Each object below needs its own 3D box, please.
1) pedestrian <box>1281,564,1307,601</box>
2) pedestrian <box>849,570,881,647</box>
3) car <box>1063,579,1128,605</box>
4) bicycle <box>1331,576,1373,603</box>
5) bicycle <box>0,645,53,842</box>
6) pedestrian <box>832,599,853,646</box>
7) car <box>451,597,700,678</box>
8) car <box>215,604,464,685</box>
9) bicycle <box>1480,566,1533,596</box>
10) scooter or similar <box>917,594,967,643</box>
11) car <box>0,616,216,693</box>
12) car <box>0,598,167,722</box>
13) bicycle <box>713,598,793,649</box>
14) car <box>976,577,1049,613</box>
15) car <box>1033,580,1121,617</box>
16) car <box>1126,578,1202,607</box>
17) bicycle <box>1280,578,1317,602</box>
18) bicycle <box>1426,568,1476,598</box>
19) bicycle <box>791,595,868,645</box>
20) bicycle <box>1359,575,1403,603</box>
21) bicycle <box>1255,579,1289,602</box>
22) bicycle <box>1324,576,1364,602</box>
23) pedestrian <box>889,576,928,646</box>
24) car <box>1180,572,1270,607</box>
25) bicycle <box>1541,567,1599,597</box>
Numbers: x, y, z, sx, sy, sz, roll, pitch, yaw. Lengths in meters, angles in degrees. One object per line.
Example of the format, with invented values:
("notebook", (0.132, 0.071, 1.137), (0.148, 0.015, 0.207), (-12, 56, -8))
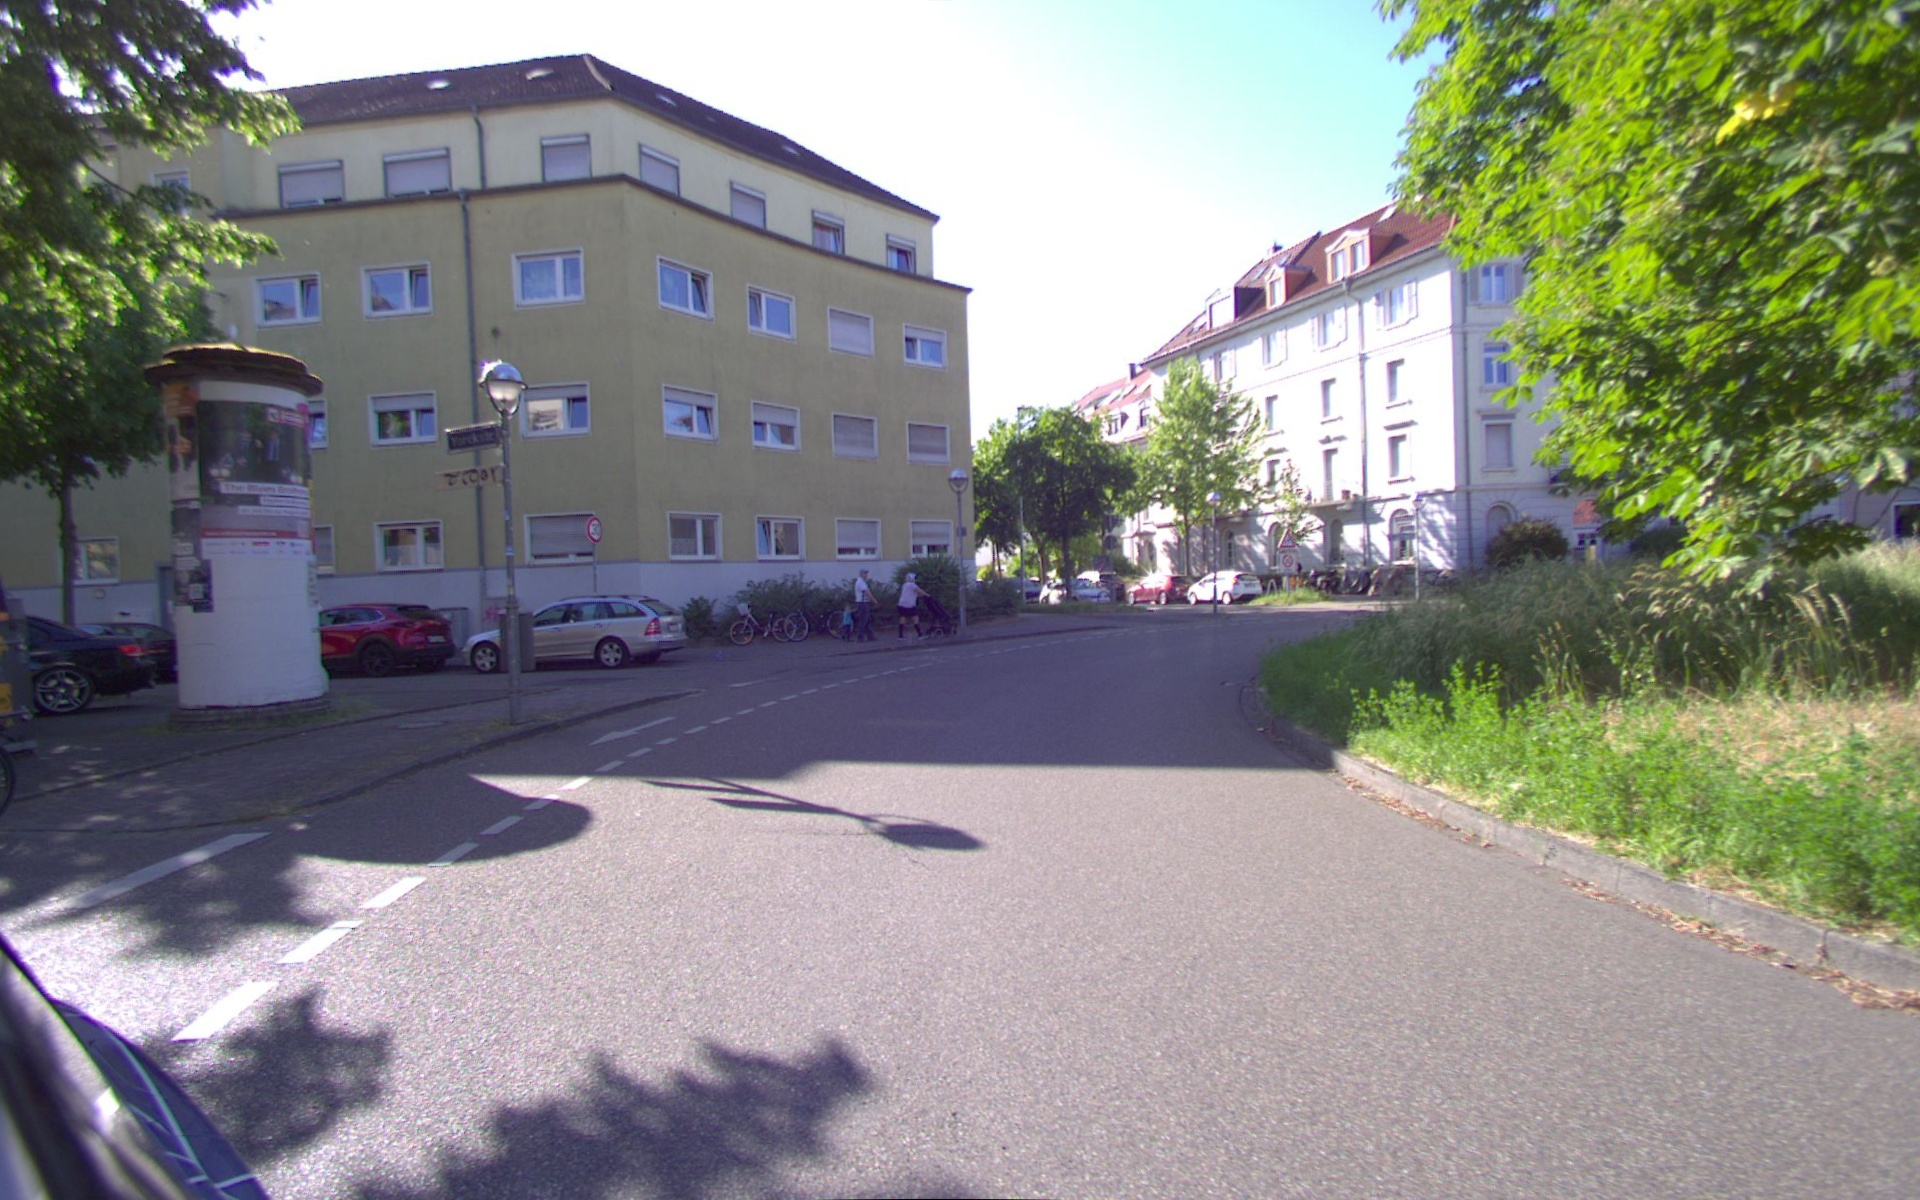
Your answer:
("pedestrian", (15.695, -0.825, 47.572), (0.760, 1.674, 0.748), (-2, 0, -25))
("pedestrian", (-2.193, 0.195, 23.310), (0.599, 1.705, 0.556), (-3, 4, -12))
("car", (7.371, -0.421, 55.354), (1.769, 1.265, 3.731), (-3, 0, -23))
("bicycle", (17.442, -0.466, 45.091), (0.561, 1.132, 1.806), (-2, 0, -25))
("bicycle", (-6.461, 0.931, 5.751), (0.756, 1.207, 1.865), (-2, 1, 9))
("pedestrian", (-2.740, 0.527, 23.634), (0.400, 1.047, 0.377), (-3, 4, -12))
("car", (-7.776, 0.746, 20.640), (4.437, 1.422, 1.729), (-2, 0, 8))
("car", (-13.003, 0.920, 21.327), (4.336, 1.450, 1.731), (-2, 0, 8))
("bicycle", (21.328, -0.738, 39.523), (1.791, 1.132, 0.565), (0, 1, 27))
("scooter or similar", (-0.433, 0.427, 23.723), (0.884, 1.030, 0.921), (-4, 4, -19))
("car", (-19.012, 1.192, 22.191), (4.336, 1.450, 1.731), (-2, 0, 8))
("car", (-12.742, 0.807, 12.925), (3.940, 1.484, 1.761), (-3, 0, -43))
("bicycle", (-4.931, 0.557, 24.173), (1.774, 1.116, 0.500), (-2, 0, -2))
("car", (2.466, -0.224, 48.514), (1.769, 1.587, 4.013), (-3, 1, -25))
("car", (4.907, -0.051, 42.954), (1.773, 1.422, 4.013), (-3, 1, -25))
("car", (9.830, -0.342, 49.003), (1.769, 1.265, 3.731), (-3, 0, -23))
("bicycle", (16.581, -0.477, 49.593), (0.561, 1.132, 1.806), (-2, 0, -25))
("bicycle", (19.870, -0.678, 40.970), (1.793, 1.116, 0.495), (-2, 0, 30))
("bicycle", (-3.192, 0.479, 24.761), (1.769, 1.116, 0.502), (-3, 0, -17))
("bicycle", (17.926, -0.463, 43.139), (0.561, 1.132, 1.806), (-2, 0, -25))
("bicycle", (15.830, -0.474, 51.341), (0.561, 1.150, 1.806), (-2, 0, -25))
("bicycle", (17.677, -0.515, 46.605), (0.561, 1.132, 1.806), (-2, 0, -25))
("pedestrian", (-1.199, 0.235, 23.452), (0.685, 1.534, 0.652), (-4, 4, -19))
("car", (11.659, -0.429, 44.845), (1.769, 1.423, 4.013), (-3, 0, -22))
("bicycle", (23.311, -0.683, 38.689), (1.783, 1.132, 0.568), (0, 1, 14))
